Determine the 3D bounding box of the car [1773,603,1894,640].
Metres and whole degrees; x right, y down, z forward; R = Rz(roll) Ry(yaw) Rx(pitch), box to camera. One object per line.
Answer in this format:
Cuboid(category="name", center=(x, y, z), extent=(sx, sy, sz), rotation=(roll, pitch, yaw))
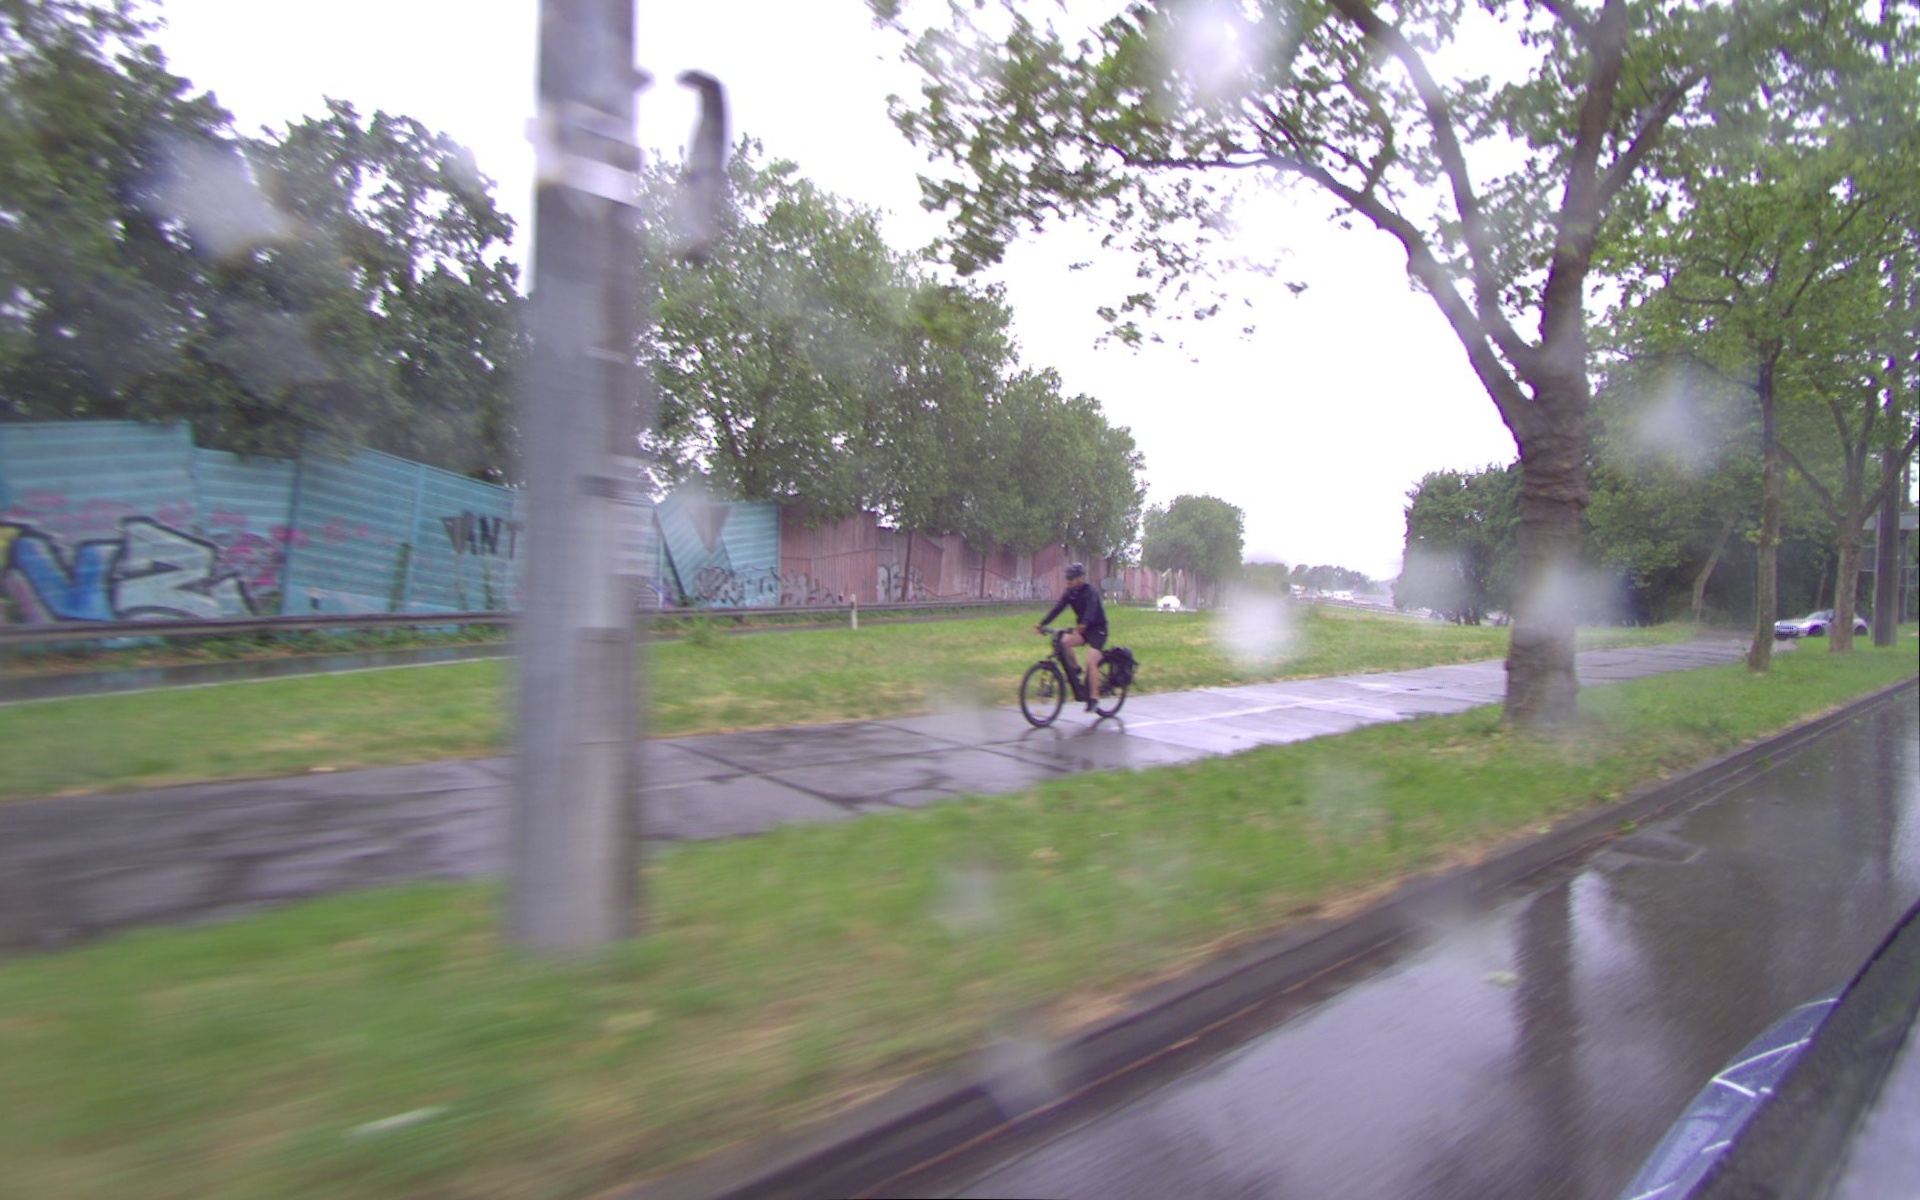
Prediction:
Cuboid(category="car", center=(38.838, 0.942, 45.038), extent=(3.920, 1.437, 1.754), rotation=(2, 2, -4))
